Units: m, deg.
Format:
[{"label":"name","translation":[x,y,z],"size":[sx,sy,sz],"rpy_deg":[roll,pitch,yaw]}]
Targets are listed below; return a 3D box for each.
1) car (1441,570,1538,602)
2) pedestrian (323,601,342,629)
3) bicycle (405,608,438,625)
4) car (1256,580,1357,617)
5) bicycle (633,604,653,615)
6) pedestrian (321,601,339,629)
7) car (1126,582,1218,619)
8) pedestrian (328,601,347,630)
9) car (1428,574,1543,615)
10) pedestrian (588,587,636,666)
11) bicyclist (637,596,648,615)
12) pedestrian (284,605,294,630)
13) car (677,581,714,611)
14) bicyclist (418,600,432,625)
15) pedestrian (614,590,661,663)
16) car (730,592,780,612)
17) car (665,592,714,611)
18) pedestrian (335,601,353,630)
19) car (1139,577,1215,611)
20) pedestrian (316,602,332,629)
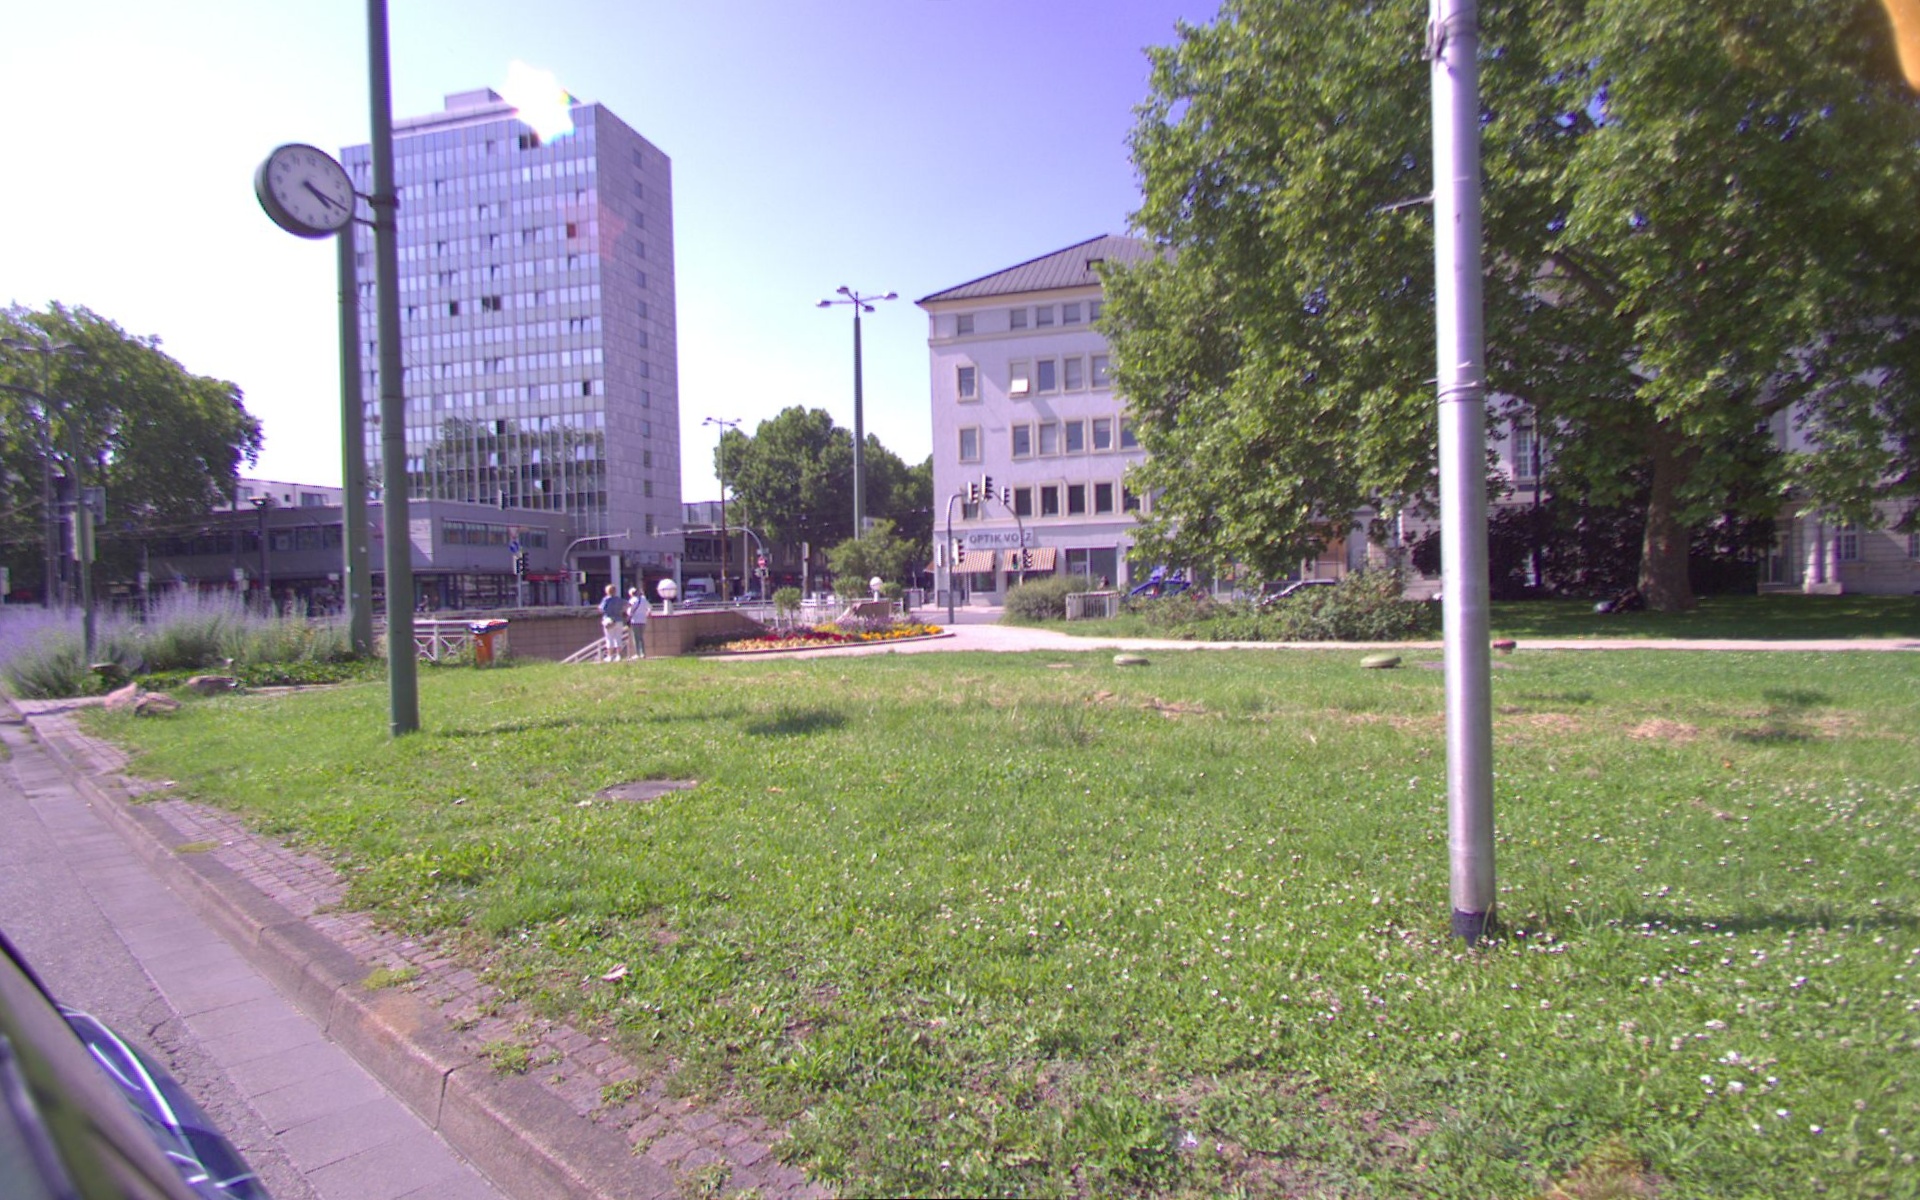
[{"label":"car","translation":[22.715,-0.618,43.517],"size":[3.377,1.248,1.511],"rpy_deg":[-2,1,15]},{"label":"pedestrian","translation":[-42.055,1.011,67.843],"size":[0.728,1.849,0.820],"rpy_deg":[-1,0,14]},{"label":"bicycle","translation":[-38.346,1.183,72.102],"size":[0.577,1.110,1.941],"rpy_deg":[-1,1,44]},{"label":"car","translation":[13.508,-0.059,39.626],"size":[3.551,1.278,1.604],"rpy_deg":[-2,1,15]},{"label":"bicycle","translation":[-27.110,0.797,86.487],"size":[0.589,0.889,1.796],"rpy_deg":[0,2,25]},{"label":"pedestrian","translation":[-42.646,1.018,68.527],"size":[0.665,1.849,0.819],"rpy_deg":[-1,0,15]},{"label":"car","translation":[8.628,0.019,41.159],"size":[3.551,1.356,1.604],"rpy_deg":[-2,1,15]},{"label":"pedestrian","translation":[-41.317,1.019,67.207],"size":[0.665,1.849,0.820],"rpy_deg":[-1,0,14]},{"label":"car","translation":[19.760,-0.211,38.195],"size":[3.551,1.389,1.604],"rpy_deg":[-2,1,15]},{"label":"pedestrian","translation":[-7.264,0.541,21.161],"size":[0.597,1.605,0.686],"rpy_deg":[-2,1,27]},{"label":"bicyclist","translation":[-27.120,0.474,86.466],"size":[0.579,1.538,0.678],"rpy_deg":[0,1,25]},{"label":"pedestrian","translation":[-45.255,1.176,68.258],"size":[0.556,1.650,0.601],"rpy_deg":[-1,0,-31]},{"label":"car","translation":[-26.672,-0.417,102.134],"size":[1.729,2.938,4.619],"rpy_deg":[-2,1,12]},{"label":"bicyclist","translation":[-38.204,0.886,72.254],"size":[0.584,1.700,0.674],"rpy_deg":[-1,1,45]},{"label":"pedestrian","translation":[-6.924,0.561,21.764],"size":[0.473,1.521,0.843],"rpy_deg":[-2,1,26]},{"label":"car","translation":[-16.839,0.144,83.229],"size":[1.873,1.545,4.041],"rpy_deg":[-2,1,27]},{"label":"car","translation":[-23.625,0.131,88.440],"size":[1.873,1.471,4.126],"rpy_deg":[-2,1,27]},{"label":"pedestrian","translation":[-40.490,1.020,66.524],"size":[0.664,1.849,0.820],"rpy_deg":[-1,0,13]},{"label":"car","translation":[10.147,-0.276,47.268],"size":[3.377,1.475,1.511],"rpy_deg":[-2,1,15]},{"label":"pedestrian","translation":[-43.776,1.059,69.670],"size":[0.810,1.820,0.672],"rpy_deg":[-1,0,-38]}]
